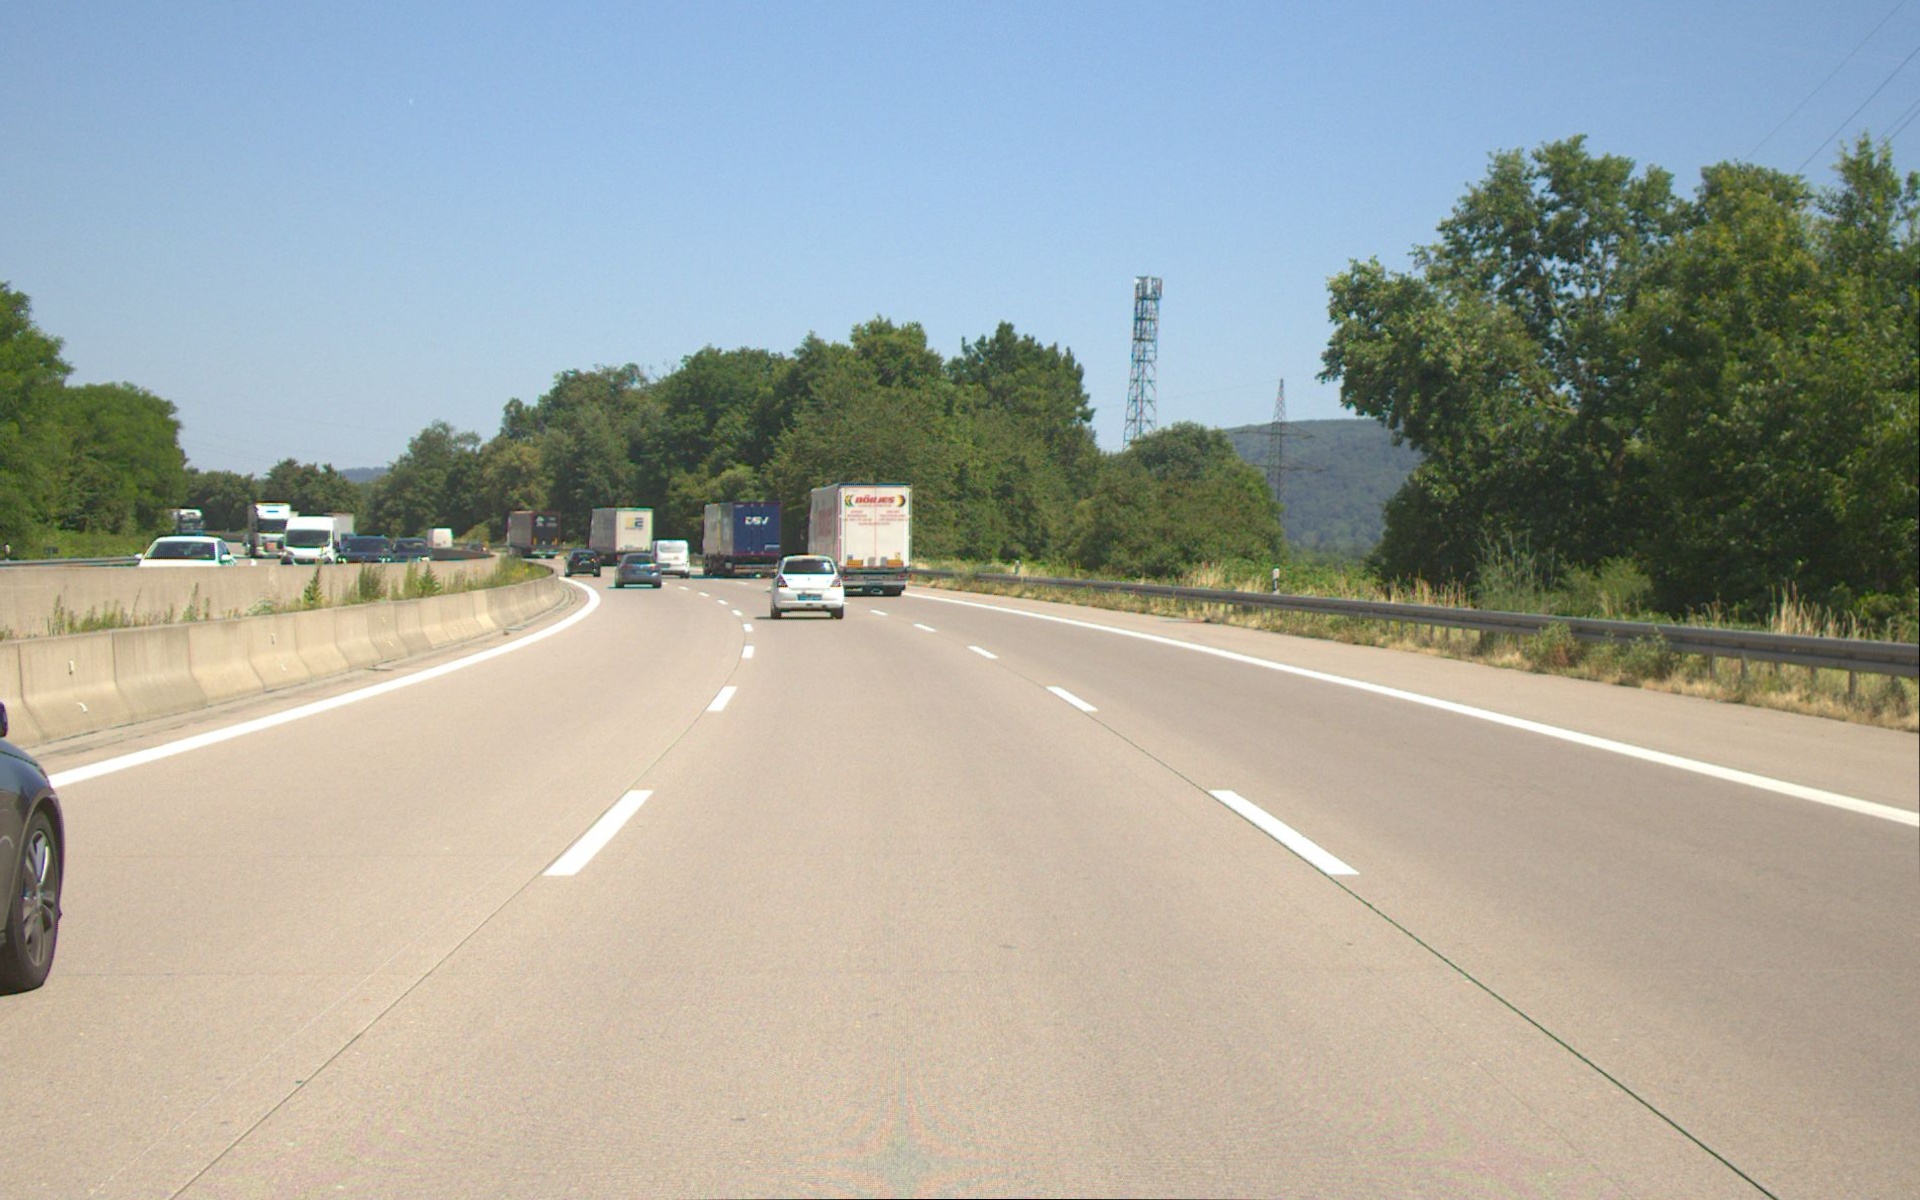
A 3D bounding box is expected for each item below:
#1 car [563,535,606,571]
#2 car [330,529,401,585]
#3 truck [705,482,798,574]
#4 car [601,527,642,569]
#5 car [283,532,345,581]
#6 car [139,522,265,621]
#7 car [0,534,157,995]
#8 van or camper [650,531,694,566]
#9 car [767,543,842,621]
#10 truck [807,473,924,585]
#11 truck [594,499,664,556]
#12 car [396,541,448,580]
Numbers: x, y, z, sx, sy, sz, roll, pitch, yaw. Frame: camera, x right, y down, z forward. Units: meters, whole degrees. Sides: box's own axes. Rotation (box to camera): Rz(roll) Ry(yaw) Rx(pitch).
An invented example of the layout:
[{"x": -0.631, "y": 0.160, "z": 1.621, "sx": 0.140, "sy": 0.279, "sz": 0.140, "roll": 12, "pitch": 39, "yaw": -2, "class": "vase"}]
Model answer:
[{"x": -20.495, "y": -2.569, "z": 187.546, "sx": 2.021, "sy": 1.694, "sz": 4.001, "roll": 5, "pitch": 1, "yaw": -9, "class": "car"}, {"x": -20.046, "y": -1.444, "z": 116.019, "sx": 1.862, "sy": 1.843, "sz": 4.000, "roll": 0, "pitch": 1, "yaw": -2, "class": "car"}, {"x": -11.344, "y": -3.840, "z": 185.563, "sx": 3.906, "sy": 4.725, "sz": 14.053, "roll": 0, "pitch": 1, "yaw": -8, "class": "truck"}, {"x": -14.294, "y": -2.196, "z": 145.099, "sx": 1.610, "sy": 1.719, "sz": 3.574, "roll": 0, "pitch": 1, "yaw": -8, "class": "car"}, {"x": -25.784, "y": -1.738, "z": 137.325, "sx": 1.938, "sy": 1.953, "sz": 4.001, "roll": 0, "pitch": 1, "yaw": -4, "class": "car"}, {"x": -15.723, "y": -0.600, "z": 71.492, "sx": 1.862, "sy": 2.007, "sz": 4.000, "roll": 0, "pitch": 1, "yaw": -2, "class": "car"}, {"x": -4.003, "y": 0.532, "z": 10.401, "sx": 1.891, "sy": 1.468, "sz": 5.604, "roll": 0, "pitch": 1, "yaw": -1, "class": "car"}, {"x": -15.173, "y": -2.707, "z": 180.951, "sx": 1.867, "sy": 1.831, "sz": 4.001, "roll": 0, "pitch": 1, "yaw": -11, "class": "van or camper"}, {"x": -3.761, "y": -0.455, "z": 83.024, "sx": 1.641, "sy": 1.656, "sz": 3.361, "roll": 5, "pitch": 1, "yaw": -3, "class": "car"}, {"x": -3.624, "y": -2.570, "z": 126.929, "sx": 3.819, "sy": 3.876, "sz": 14.155, "roll": 0, "pitch": 1, "yaw": -4, "class": "truck"}, {"x": -23.874, "y": -5.147, "z": 247.468, "sx": 3.895, "sy": 3.969, "sz": 13.625, "roll": 0, "pitch": 1, "yaw": -10, "class": "truck"}, {"x": -22.518, "y": -1.661, "z": 144.022, "sx": 1.993, "sy": 1.610, "sz": 4.001, "roll": 0, "pitch": 1, "yaw": -7, "class": "car"}]
